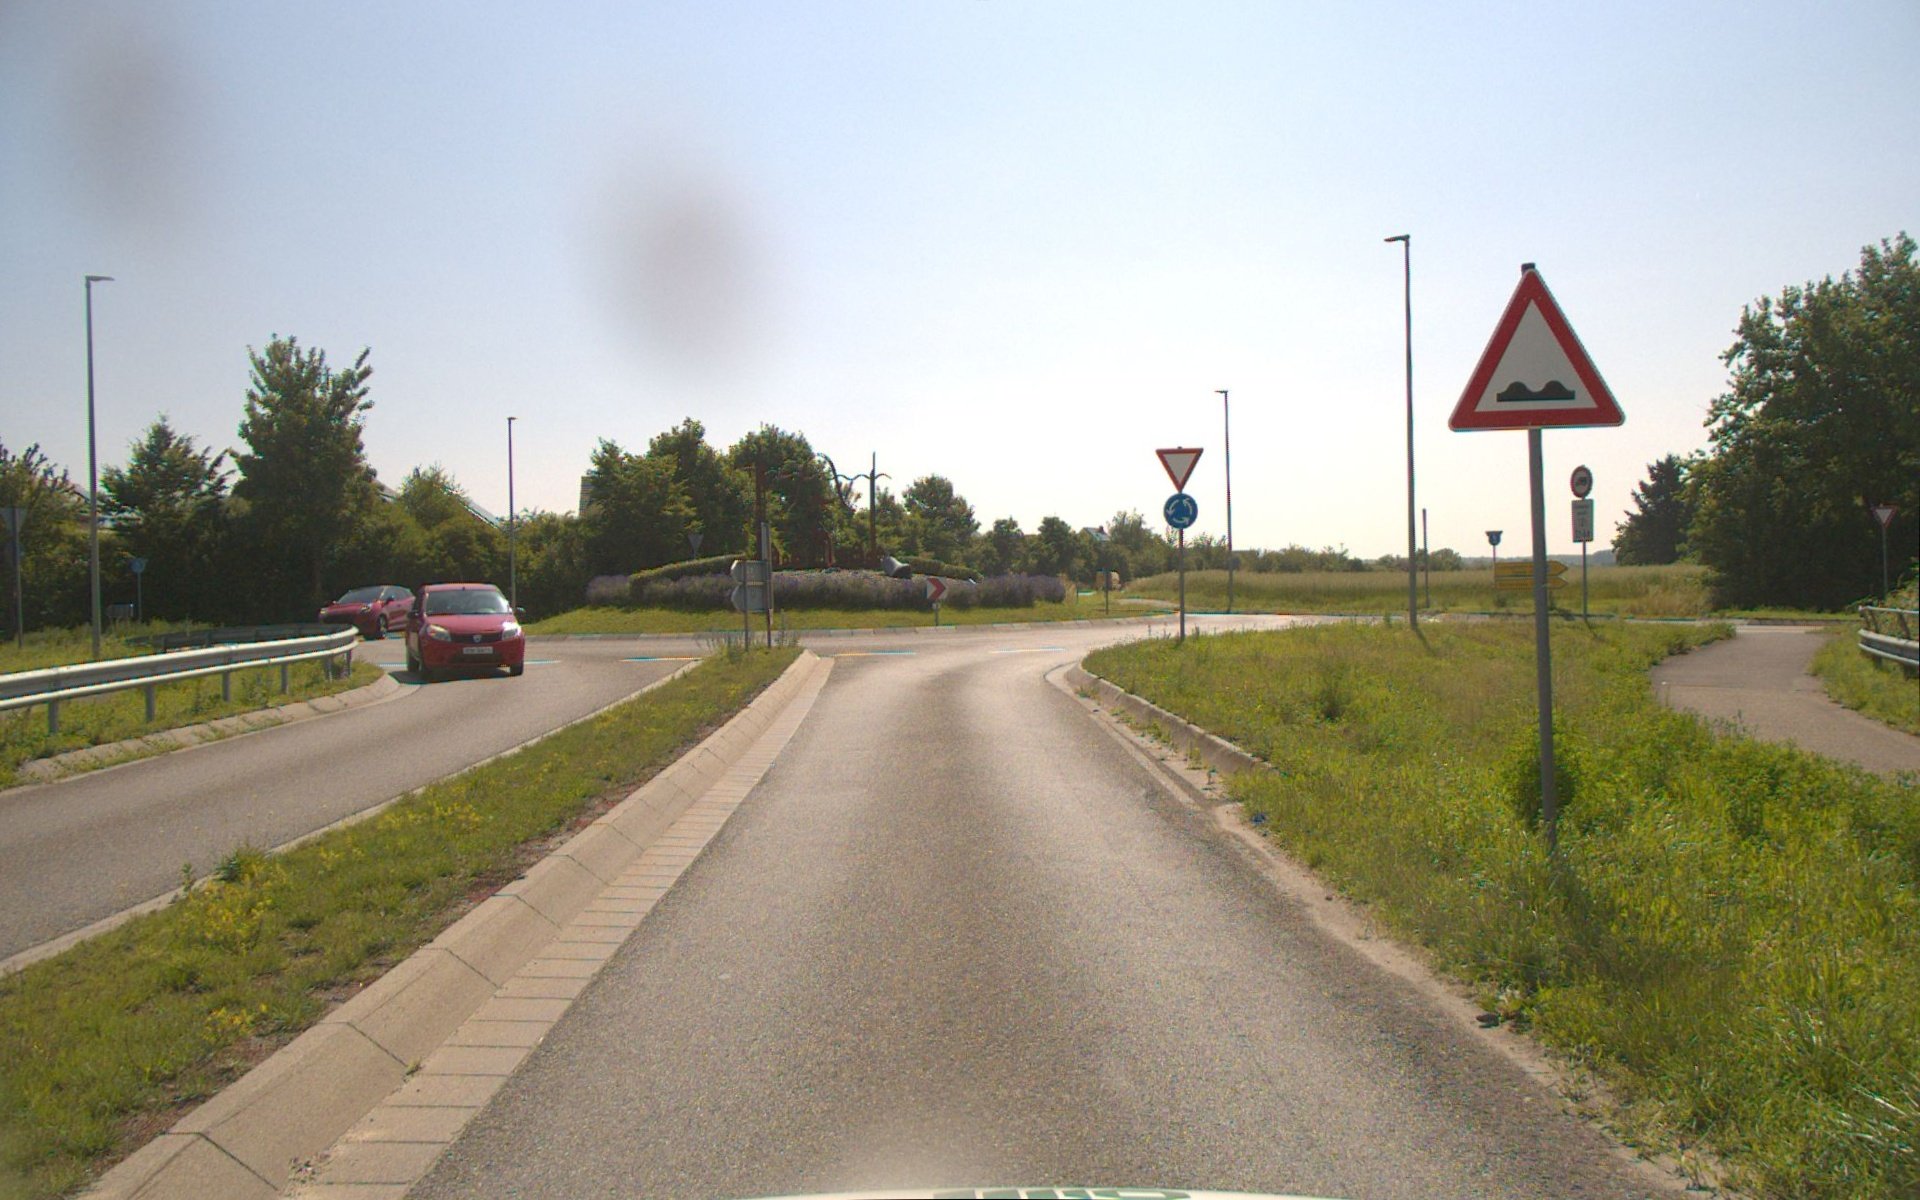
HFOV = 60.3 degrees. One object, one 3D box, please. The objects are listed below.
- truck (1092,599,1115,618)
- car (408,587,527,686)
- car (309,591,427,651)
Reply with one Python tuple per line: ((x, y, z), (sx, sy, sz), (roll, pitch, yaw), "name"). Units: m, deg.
((16.450, 0.978, 189.358), (1.951, 2.049, 4.003), (-1, -1, 14), "truck")
((-8.576, 0.627, 28.633), (1.605, 1.517, 3.777), (-2, 0, -22), "car")
((-17.216, 0.586, 48.315), (1.707, 1.549, 3.834), (-3, 1, 6), "car")
